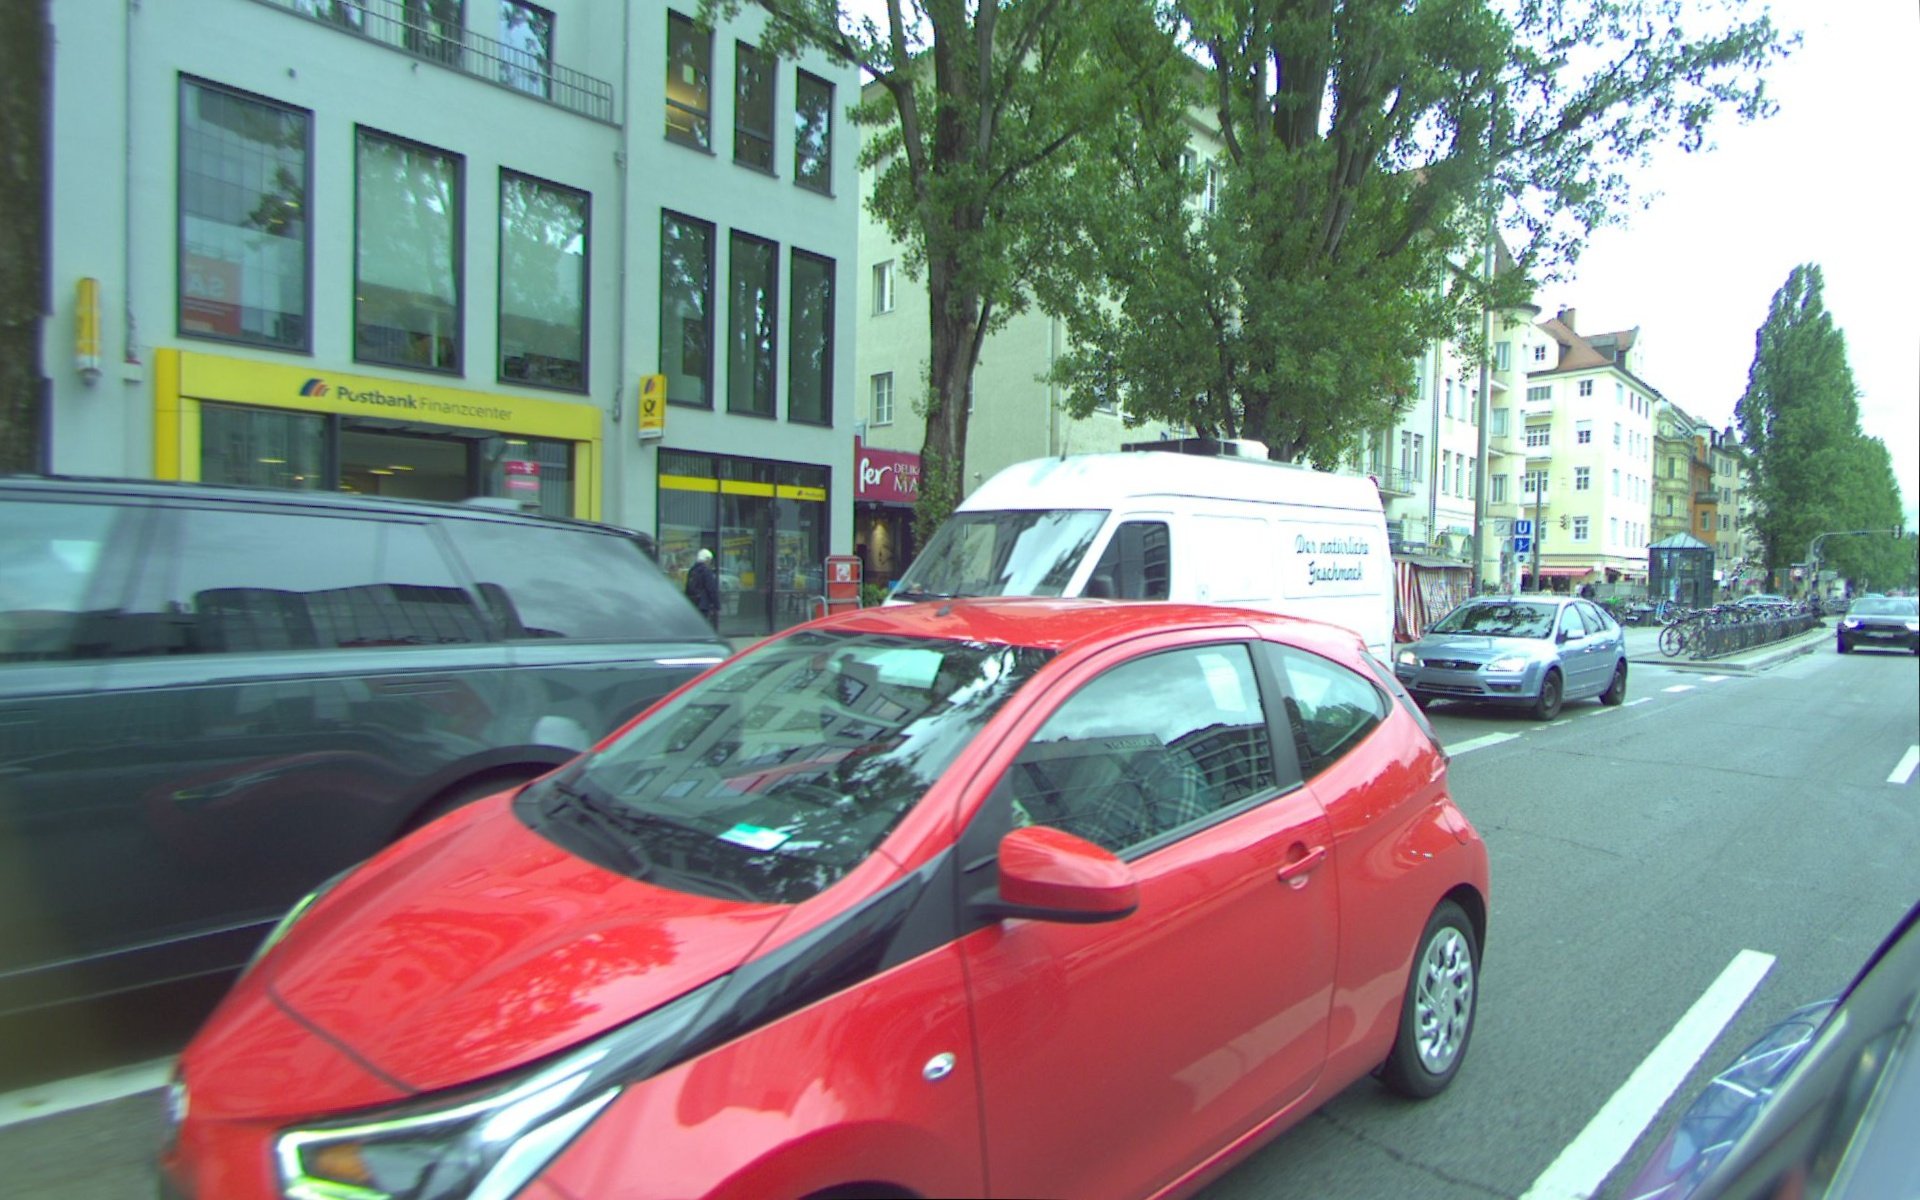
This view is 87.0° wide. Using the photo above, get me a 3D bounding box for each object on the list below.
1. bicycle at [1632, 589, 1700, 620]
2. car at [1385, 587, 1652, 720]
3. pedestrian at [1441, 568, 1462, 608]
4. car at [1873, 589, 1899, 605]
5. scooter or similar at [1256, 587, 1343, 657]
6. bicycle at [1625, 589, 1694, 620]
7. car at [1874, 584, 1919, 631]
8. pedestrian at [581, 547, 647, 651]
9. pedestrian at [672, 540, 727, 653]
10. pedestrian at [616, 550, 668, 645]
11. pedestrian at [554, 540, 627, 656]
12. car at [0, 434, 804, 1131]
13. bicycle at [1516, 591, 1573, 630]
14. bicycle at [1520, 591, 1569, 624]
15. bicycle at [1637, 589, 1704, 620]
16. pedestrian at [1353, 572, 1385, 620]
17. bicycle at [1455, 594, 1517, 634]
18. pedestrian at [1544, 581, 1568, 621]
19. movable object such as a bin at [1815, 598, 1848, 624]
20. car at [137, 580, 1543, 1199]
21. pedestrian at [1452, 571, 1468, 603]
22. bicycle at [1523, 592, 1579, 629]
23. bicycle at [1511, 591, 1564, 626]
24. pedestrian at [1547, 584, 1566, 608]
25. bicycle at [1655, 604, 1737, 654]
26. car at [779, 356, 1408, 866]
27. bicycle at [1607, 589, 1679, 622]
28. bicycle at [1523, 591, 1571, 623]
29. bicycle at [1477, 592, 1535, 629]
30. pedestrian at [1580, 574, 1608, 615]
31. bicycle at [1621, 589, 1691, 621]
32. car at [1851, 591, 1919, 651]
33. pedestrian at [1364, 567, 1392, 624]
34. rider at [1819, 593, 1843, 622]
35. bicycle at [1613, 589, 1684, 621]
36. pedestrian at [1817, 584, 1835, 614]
[{"bbox_3d":[30.893,0.164,44.296,0.617,1.242,2.329,0,2,-41],"label":"bicycle"},{"bbox_3d":[7.369,0.580,13.198,4.074,1.472,1.728,0,0,-40],"label":"car"},{"bbox_3d":[22.522,-0.552,46.371,0.616,1.759,0.634,5,3,44],"label":"pedestrian"},{"bbox_3d":[106.553,-0.361,116.479,3.935,1.660,1.995,0,2,-45],"label":"car"},{"bbox_3d":[6.372,0.390,19.016,1.456,1.222,0.397,3,2,29],"label":"scooter or similar"},{"bbox_3d":[30.083,0.181,43.536,0.617,1.242,2.341,0,2,-41],"label":"bicycle"},{"bbox_3d":[37.409,0.252,39.752,3.935,1.771,1.995,-1,1,-44],"label":"car"},{"bbox_3d":[-5.519,-0.027,16.147,0.760,1.604,0.691,0,2,-44],"label":"pedestrian"},{"bbox_3d":[-4.138,-0.065,16.130,0.725,1.745,0.723,2,2,-7],"label":"pedestrian"},{"bbox_3d":[-5.390,-0.047,17.142,0.694,1.554,0.768,1,2,-27],"label":"pedestrian"},{"bbox_3d":[-5.526,-0.045,15.135,0.785,1.669,0.691,0,2,-44],"label":"pedestrian"},{"bbox_3d":[-3.061,0.464,3.457,4.695,1.827,1.933,0,1,-40],"label":"car"},{"bbox_3d":[18.067,0.312,31.314,0.402,1.091,1.477,1,3,-29],"label":"bicycle"},{"bbox_3d":[21.005,0.268,36.365,1.445,1.091,0.405,4,3,38],"label":"bicycle"},{"bbox_3d":[31.435,0.190,44.805,0.617,1.242,2.316,0,2,-41],"label":"bicycle"},{"bbox_3d":[13.421,-0.132,33.215,0.717,1.546,0.677,0,2,-43],"label":"pedestrian"},{"bbox_3d":[16.190,0.404,31.174,0.403,1.116,1.633,0,3,-39],"label":"bicycle"},{"bbox_3d":[24.004,0.039,40.774,0.528,1.602,0.661,0,2,-42],"label":"pedestrian"},{"bbox_3d":[39.752,0.502,46.165,1.087,1.075,0.736,5,4,43],"label":"movable object such as a bin"},{"bbox_3d":[0.040,0.682,2.784,3.534,1.464,1.668,-1,1,-41],"label":"car"},{"bbox_3d":[24.276,-0.640,49.099,0.563,1.560,0.583,2,3,36],"label":"pedestrian"},{"bbox_3d":[19.037,0.327,32.608,0.403,1.091,1.482,0,3,-39],"label":"bicycle"},{"bbox_3d":[20.198,0.289,35.423,1.528,1.091,0.404,4,3,38],"label":"bicycle"},{"bbox_3d":[33.182,-0.226,56.271,0.699,1.260,0.904,3,3,44],"label":"pedestrian"},{"bbox_3d":[16.287,0.640,22.439,0.535,1.068,1.577,0,-2,-6],"label":"bicycle"},{"bbox_3d":[1.416,0.006,8.108,5.461,2.776,1.996,-1,1,-43],"label":"car"},{"bbox_3d":[28.358,0.214,42.025,0.617,1.242,2.366,0,2,-41],"label":"bicycle"},{"bbox_3d":[21.658,0.246,37.353,1.445,1.091,0.405,4,3,38],"label":"bicycle"},{"bbox_3d":[18.280,0.330,33.909,1.625,1.116,0.405,4,3,37],"label":"bicycle"},{"bbox_3d":[27.791,-0.239,44.342,0.727,1.729,0.704,2,1,5],"label":"pedestrian"},{"bbox_3d":[29.462,0.196,42.854,0.617,1.242,2.316,0,2,-41],"label":"bicycle"},{"bbox_3d":[25.303,0.528,27.296,1.736,1.488,3.987,2,2,44],"label":"car"},{"bbox_3d":[13.921,-0.143,33.708,0.712,1.851,0.721,2,2,31],"label":"pedestrian"},{"bbox_3d":[39.740,0.317,46.192,0.730,1.256,0.722,5,4,43],"label":"rider"},{"bbox_3d":[28.864,0.205,42.462,0.617,1.242,2.341,0,2,-41],"label":"bicycle"},{"bbox_3d":[55.298,-0.070,64.612,0.728,1.823,0.702,3,3,37],"label":"pedestrian"}]
